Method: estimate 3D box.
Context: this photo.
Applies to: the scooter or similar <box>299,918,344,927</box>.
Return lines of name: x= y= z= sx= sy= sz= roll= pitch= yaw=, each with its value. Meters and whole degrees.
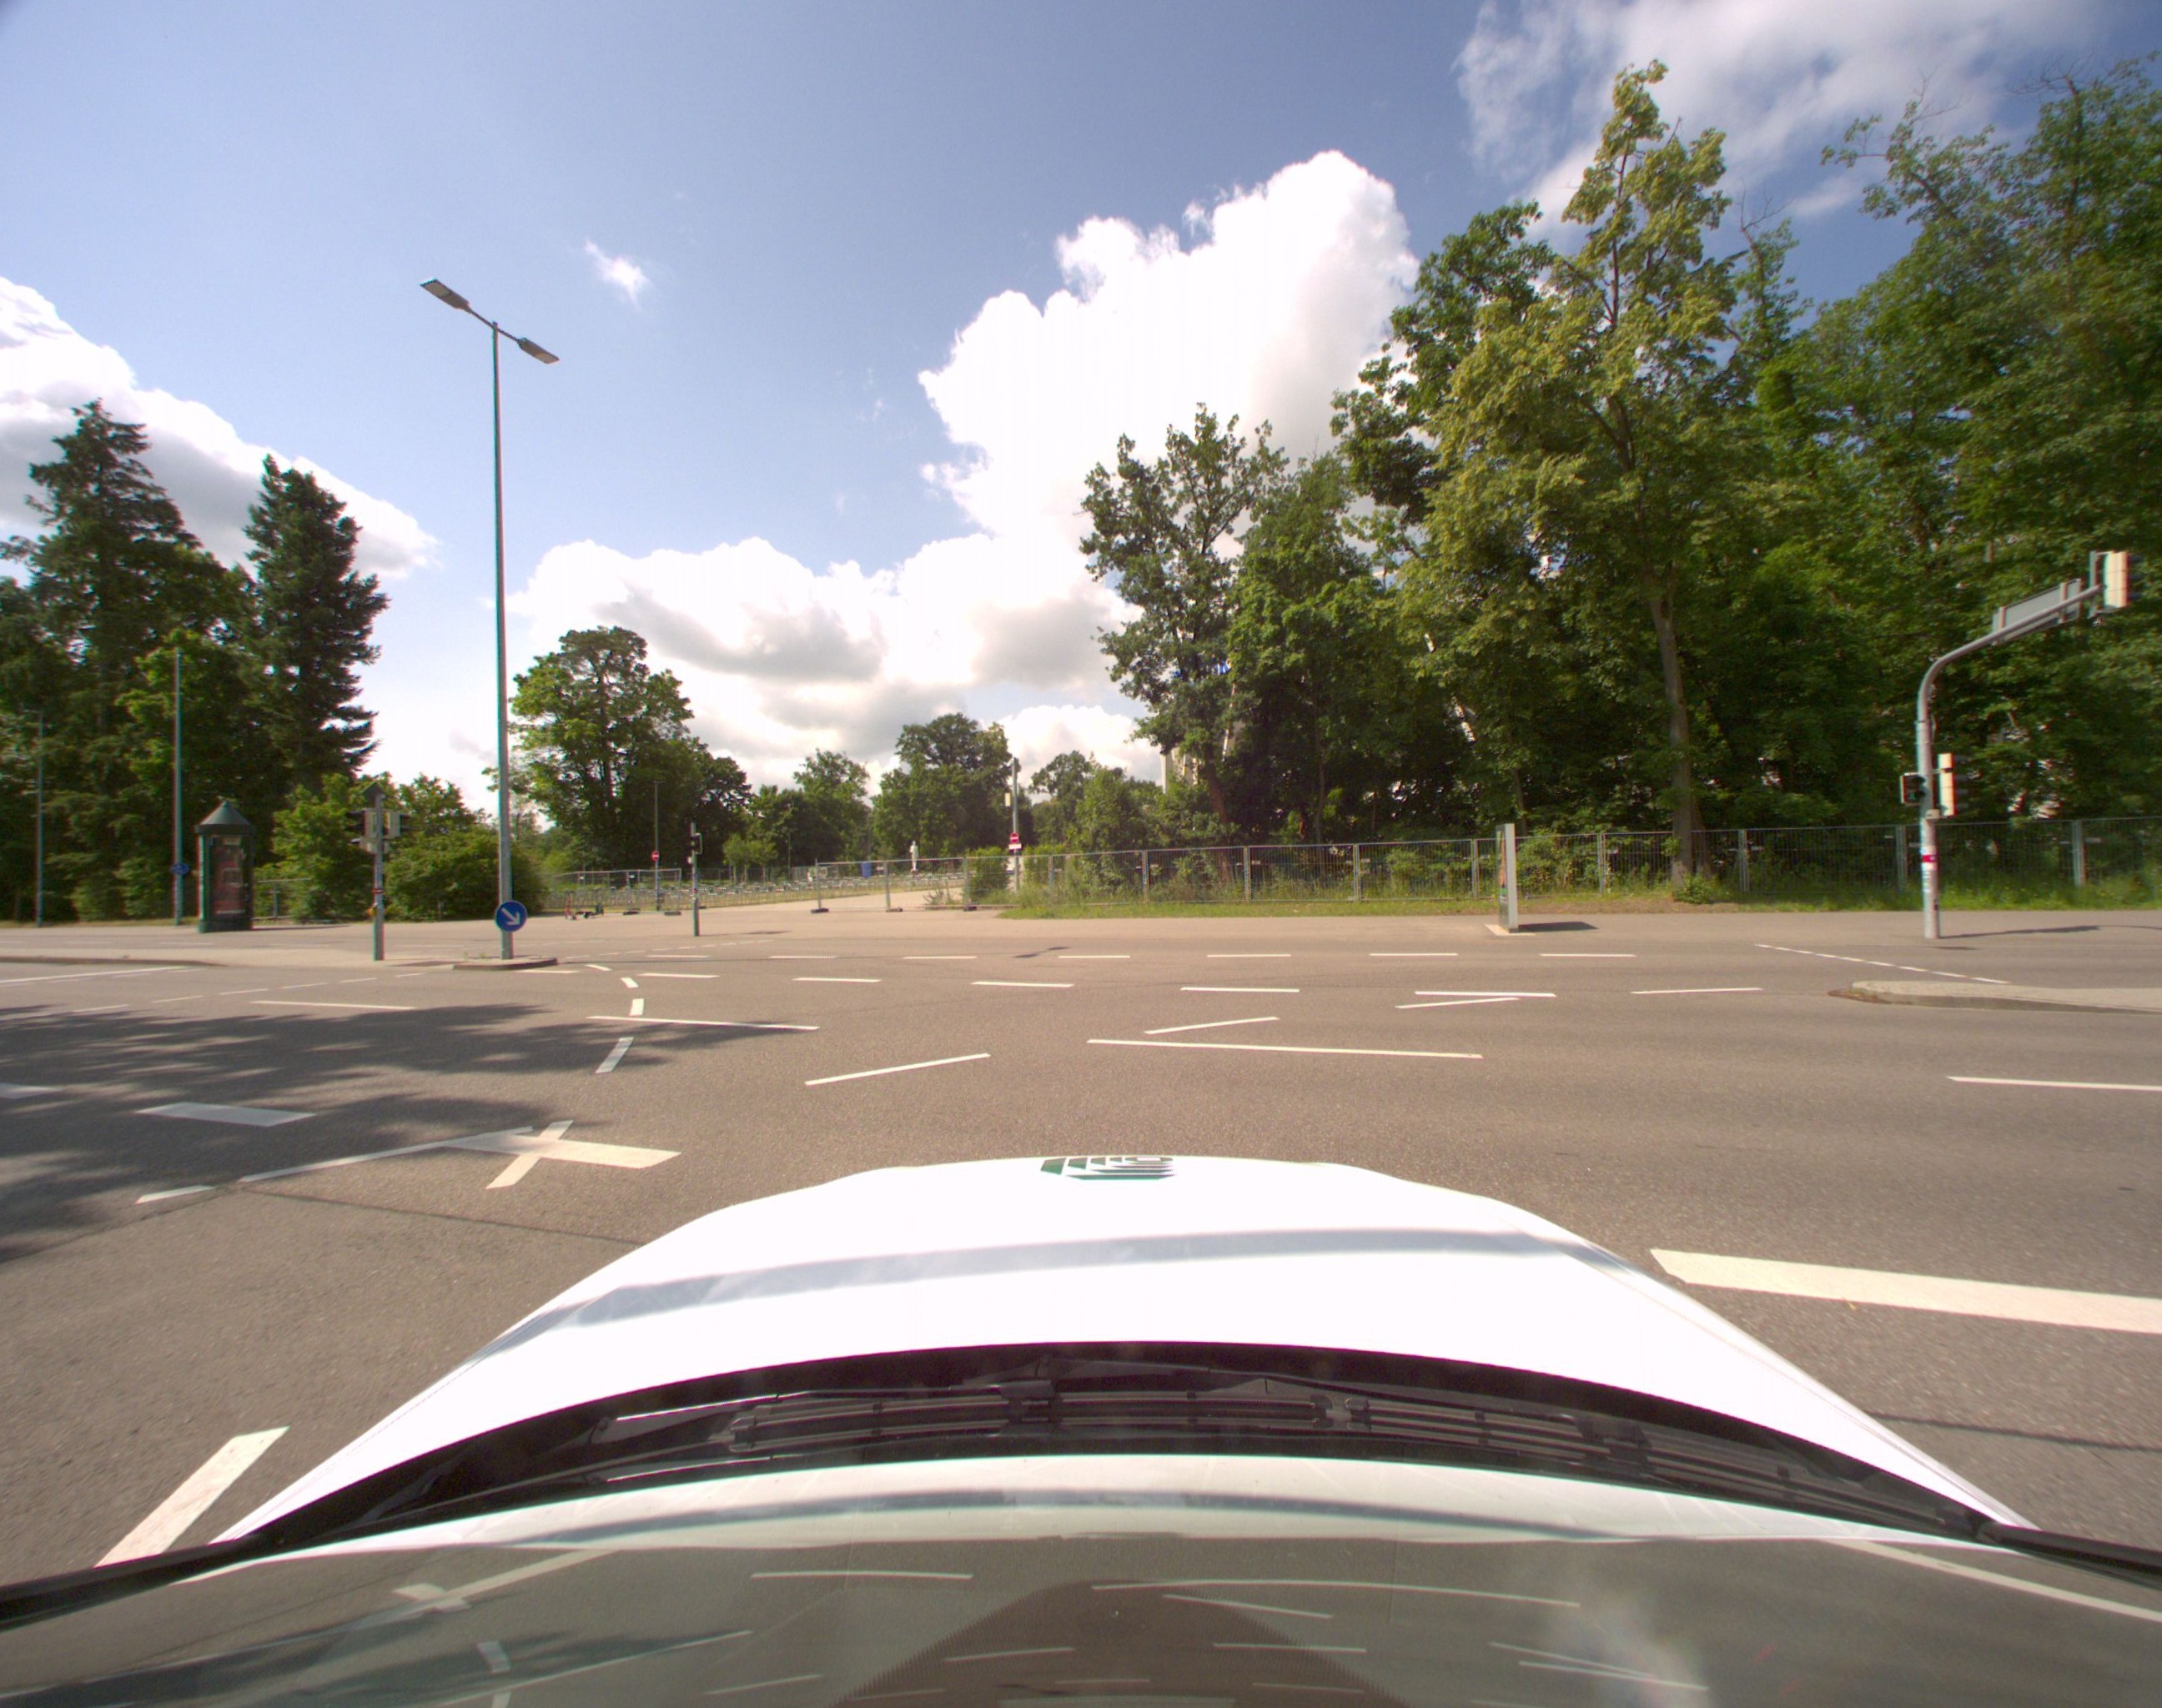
scooter or similar: x=-34.403 y=3.115 z=36.908 sx=1.457 sy=0.389 sz=0.859 roll=-1 pitch=-6 yaw=18

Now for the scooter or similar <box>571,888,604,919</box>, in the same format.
scooter or similar: x=-21.349 y=2.147 z=35.261 sx=0.403 sy=1.252 sz=1.316 roll=-2 pitch=-1 yaw=13

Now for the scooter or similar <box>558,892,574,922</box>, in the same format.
scooter or similar: x=-21.539 y=2.195 z=34.068 sx=0.409 sy=1.200 sz=1.296 roll=-2 pitch=-1 yaw=-39
